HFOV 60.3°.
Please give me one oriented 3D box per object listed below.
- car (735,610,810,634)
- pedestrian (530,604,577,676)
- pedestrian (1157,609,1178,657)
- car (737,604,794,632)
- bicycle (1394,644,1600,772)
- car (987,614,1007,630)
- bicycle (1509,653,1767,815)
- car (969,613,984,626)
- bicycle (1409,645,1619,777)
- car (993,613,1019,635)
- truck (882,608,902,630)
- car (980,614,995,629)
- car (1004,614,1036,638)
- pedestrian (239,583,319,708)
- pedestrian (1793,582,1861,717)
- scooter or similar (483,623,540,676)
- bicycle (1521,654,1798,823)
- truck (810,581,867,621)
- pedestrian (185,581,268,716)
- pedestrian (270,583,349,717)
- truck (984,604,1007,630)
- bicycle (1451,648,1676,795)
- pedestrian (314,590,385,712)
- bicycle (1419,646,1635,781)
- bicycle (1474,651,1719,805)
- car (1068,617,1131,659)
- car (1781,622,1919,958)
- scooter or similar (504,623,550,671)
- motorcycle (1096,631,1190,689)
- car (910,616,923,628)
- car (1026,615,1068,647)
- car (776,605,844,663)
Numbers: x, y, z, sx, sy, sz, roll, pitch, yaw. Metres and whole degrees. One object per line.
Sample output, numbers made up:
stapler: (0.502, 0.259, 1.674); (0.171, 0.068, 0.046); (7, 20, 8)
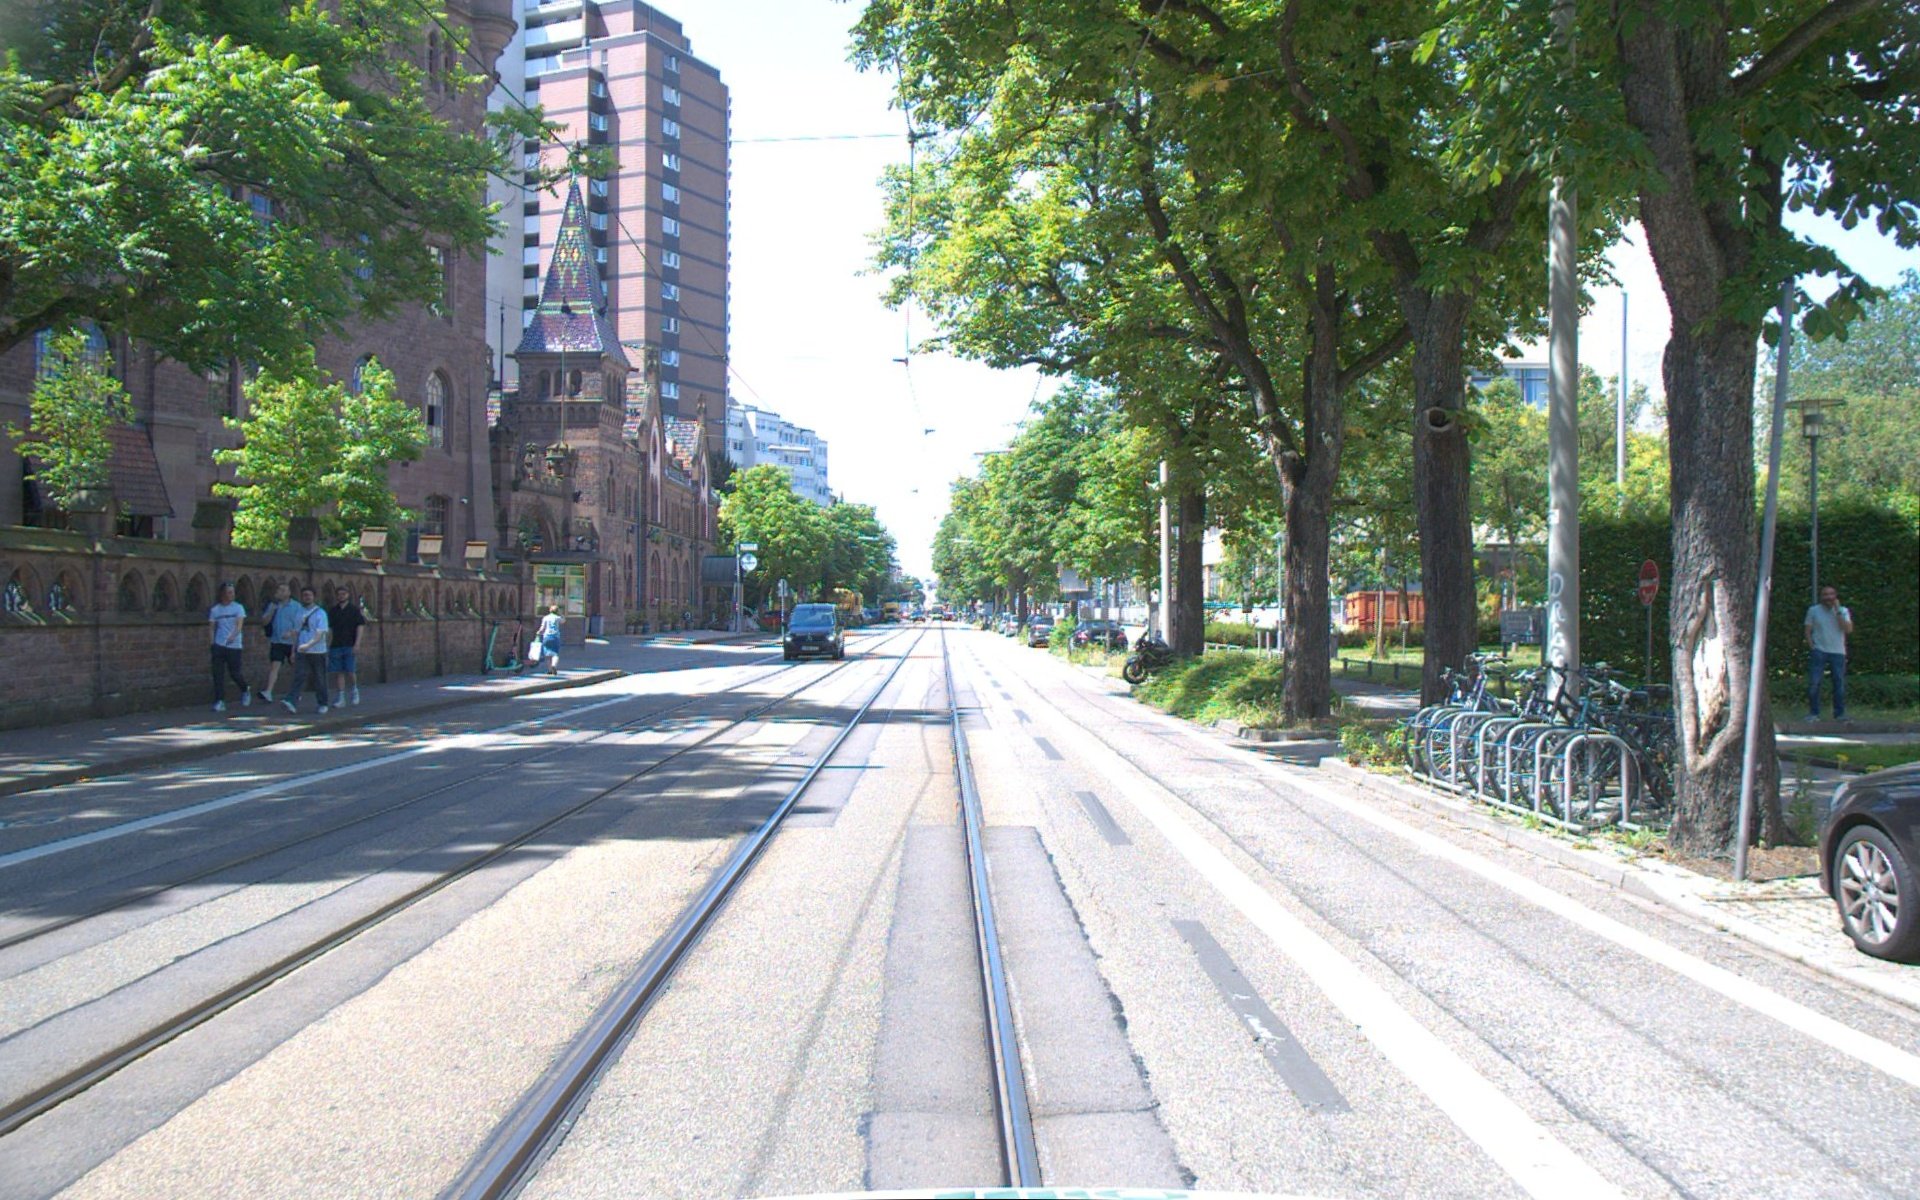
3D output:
car: (-12.785, 1.489, 112.614); (4.712, 1.594, 1.982); (1, -1, -29)
pedestrian: (-9.405, 0.919, 38.299); (0.783, 1.616, 0.919); (3, -1, -1)
pedestrian: (7.055, 1.121, 56.293); (0.606, 1.601, 0.610); (-1, -1, -1)
car: (-19.506, 1.850, 166.361); (2.137, 2.611, 6.712); (0, -2, 29)
bicycle: (5.009, 1.001, 15.458); (1.772, 1.130, 0.449); (-1, -1, -4)
car: (3.372, 2.008, 151.170); (1.786, 1.497, 4.401); (0, 0, 2)
bicycle: (5.107, 0.988, 12.480); (1.775, 1.130, 0.534); (-1, -1, -10)
car: (2.113, 2.545, 215.061); (1.606, 1.511, 3.870); (-1, -1, -4)
bicycle: (5.026, 0.999, 15.028); (1.772, 1.130, 0.395); (-1, -1, -4)
car: (3.330, 1.712, 120.558); (1.637, 1.544, 4.200); (0, 0, -1)
truck: (-9.428, 2.644, 230.693); (2.312, 2.902, 7.378); (-1, -1, 1)
car: (3.027, 2.324, 181.274); (1.610, 1.561, 3.785); (0, 0, 1)
car: (3.871, 1.692, 107.377); (1.638, 1.525, 4.362); (0, 0, -4)
pedestrian: (-10.220, 0.667, 24.855); (0.737, 1.807, 0.919); (3, -1, -1)
pedestrian: (11.657, 0.651, 22.229); (0.617, 1.779, 0.652); (-2, -1, 43)
scooter or similar: (-10.057, 1.122, 37.113); (0.343, 1.146, 1.217); (0, -2, 42)
bicycle: (4.986, 0.974, 11.825); (1.772, 1.130, 0.514); (-1, -1, -4)
truck: (-12.740, 0.205, 174.697); (2.657, 3.909, 10.971); (1, -1, 13)
pedestrian: (-10.155, 0.661, 22.920); (0.663, 1.807, 0.919); (3, -1, -1)
pedestrian: (-9.142, 0.691, 23.288); (0.663, 1.821, 0.919); (3, -1, -1)
truck: (3.426, 1.652, 161.822); (1.973, 2.532, 5.954); (0, 0, -1)
bicycle: (5.018, 0.989, 13.754); (1.777, 1.130, 0.488); (-1, -1, -15)
pedestrian: (-9.217, 0.753, 24.999); (0.663, 1.779, 0.919); (3, -1, -1)
bicycle: (5.004, 0.990, 14.627); (1.772, 1.130, 0.395); (-1, -1, -4)
bicycle: (5.029, 0.995, 13.097); (1.775, 1.130, 0.532); (-1, -1, -10)
car: (4.612, 1.237, 55.102); (1.715, 1.293, 3.833); (1, 0, 0)
car: (5.165, 0.847, 6.324); (1.642, 1.493, 4.633); (-1, 0, -1)
scooter or similar: (-10.617, 1.152, 40.559); (0.322, 1.146, 1.221); (1, -1, 27)
motorcycle: (3.976, 1.307, 36.008); (2.022, 1.234, 0.610); (-1, -2, 39)
car: (-6.444, 3.245, 244.943); (1.793, 1.710, 4.184); (0, 0, 0)
car: (4.033, 1.403, 77.290); (1.637, 1.433, 4.747); (0, 0, -1)
car: (-4.892, 1.094, 54.385); (1.866, 1.819, 4.254); (0, 0, -1)
